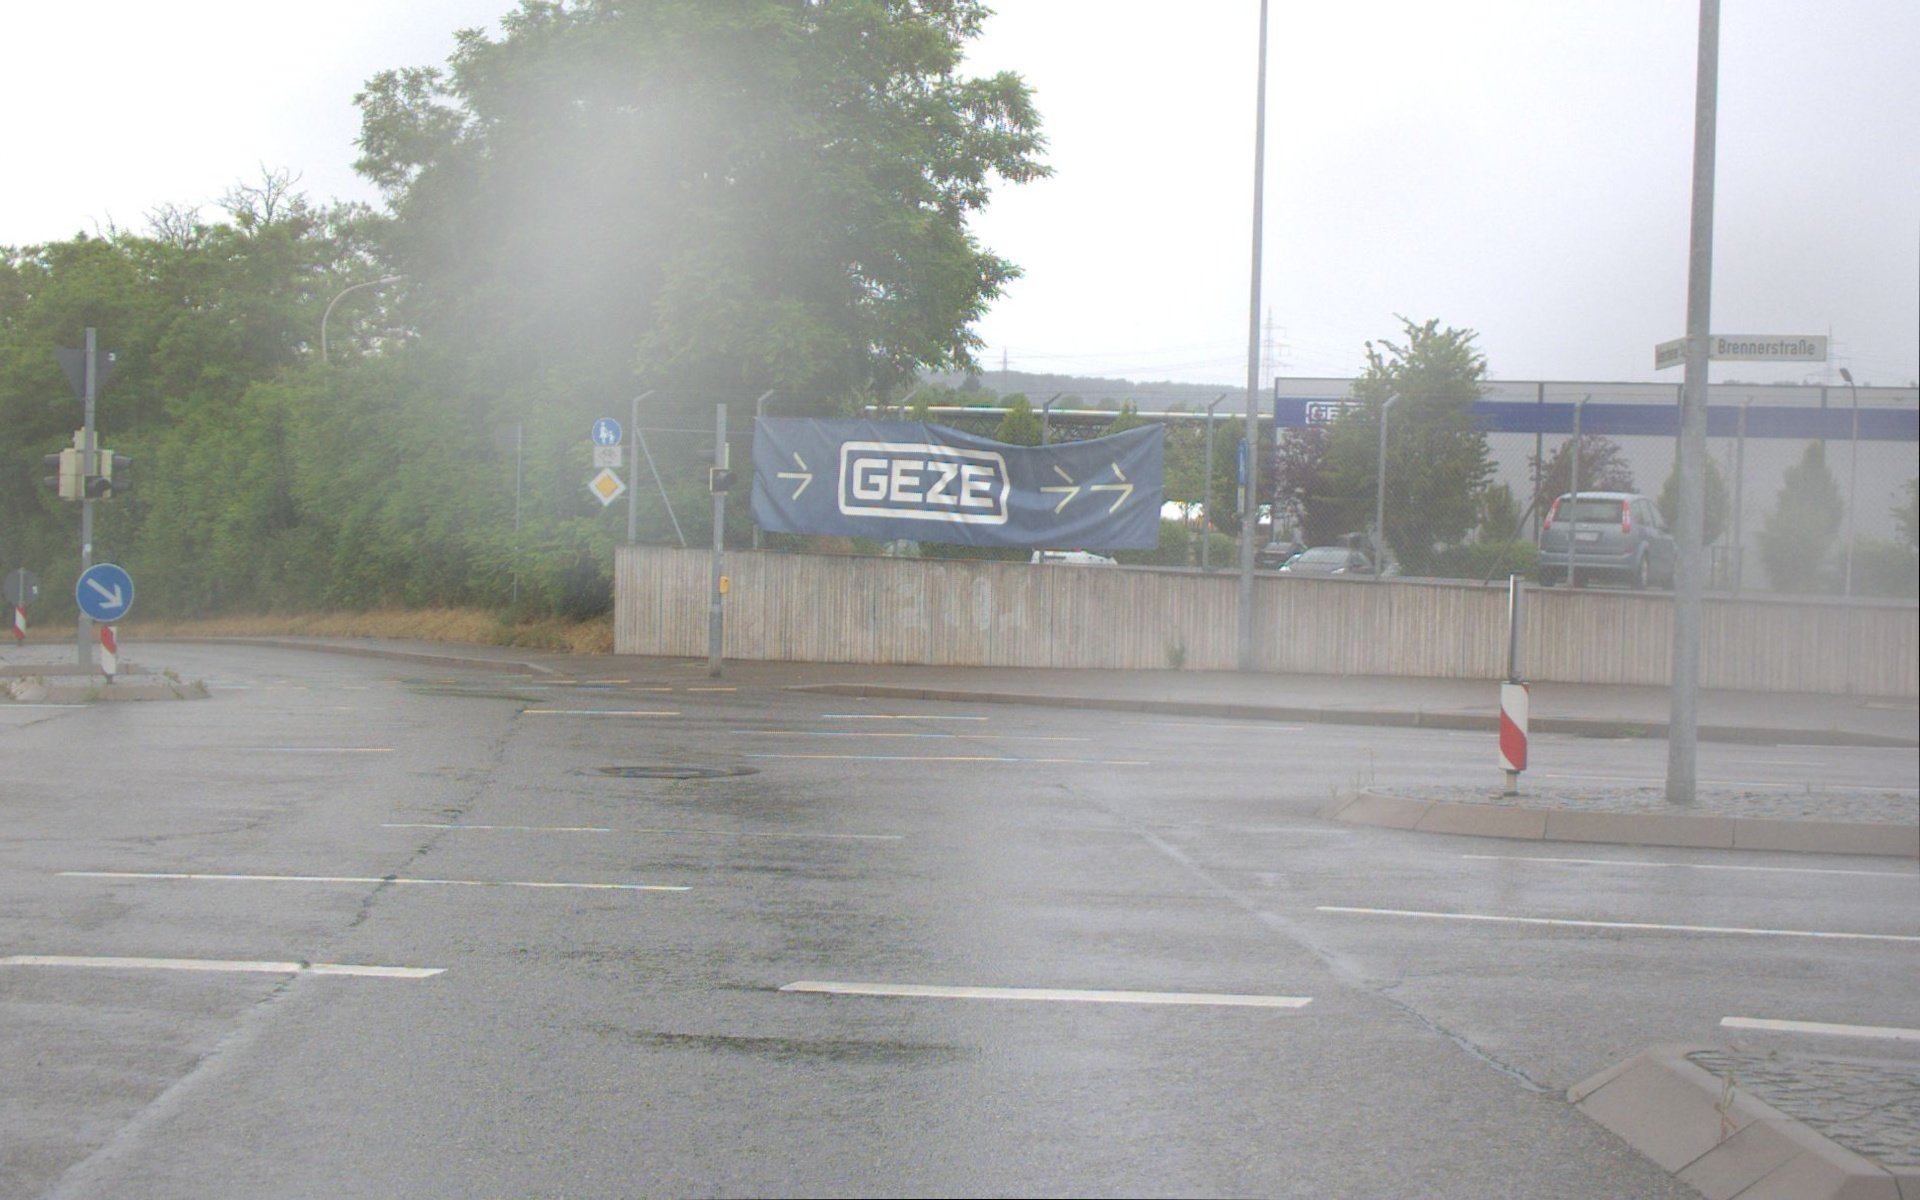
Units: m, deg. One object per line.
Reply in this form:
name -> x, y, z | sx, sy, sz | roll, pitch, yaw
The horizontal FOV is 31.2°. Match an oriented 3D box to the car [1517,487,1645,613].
car -> 10.447, -0.842, 57.696 | 1.994, 2.007, 3.998 | 1, 1, 11
